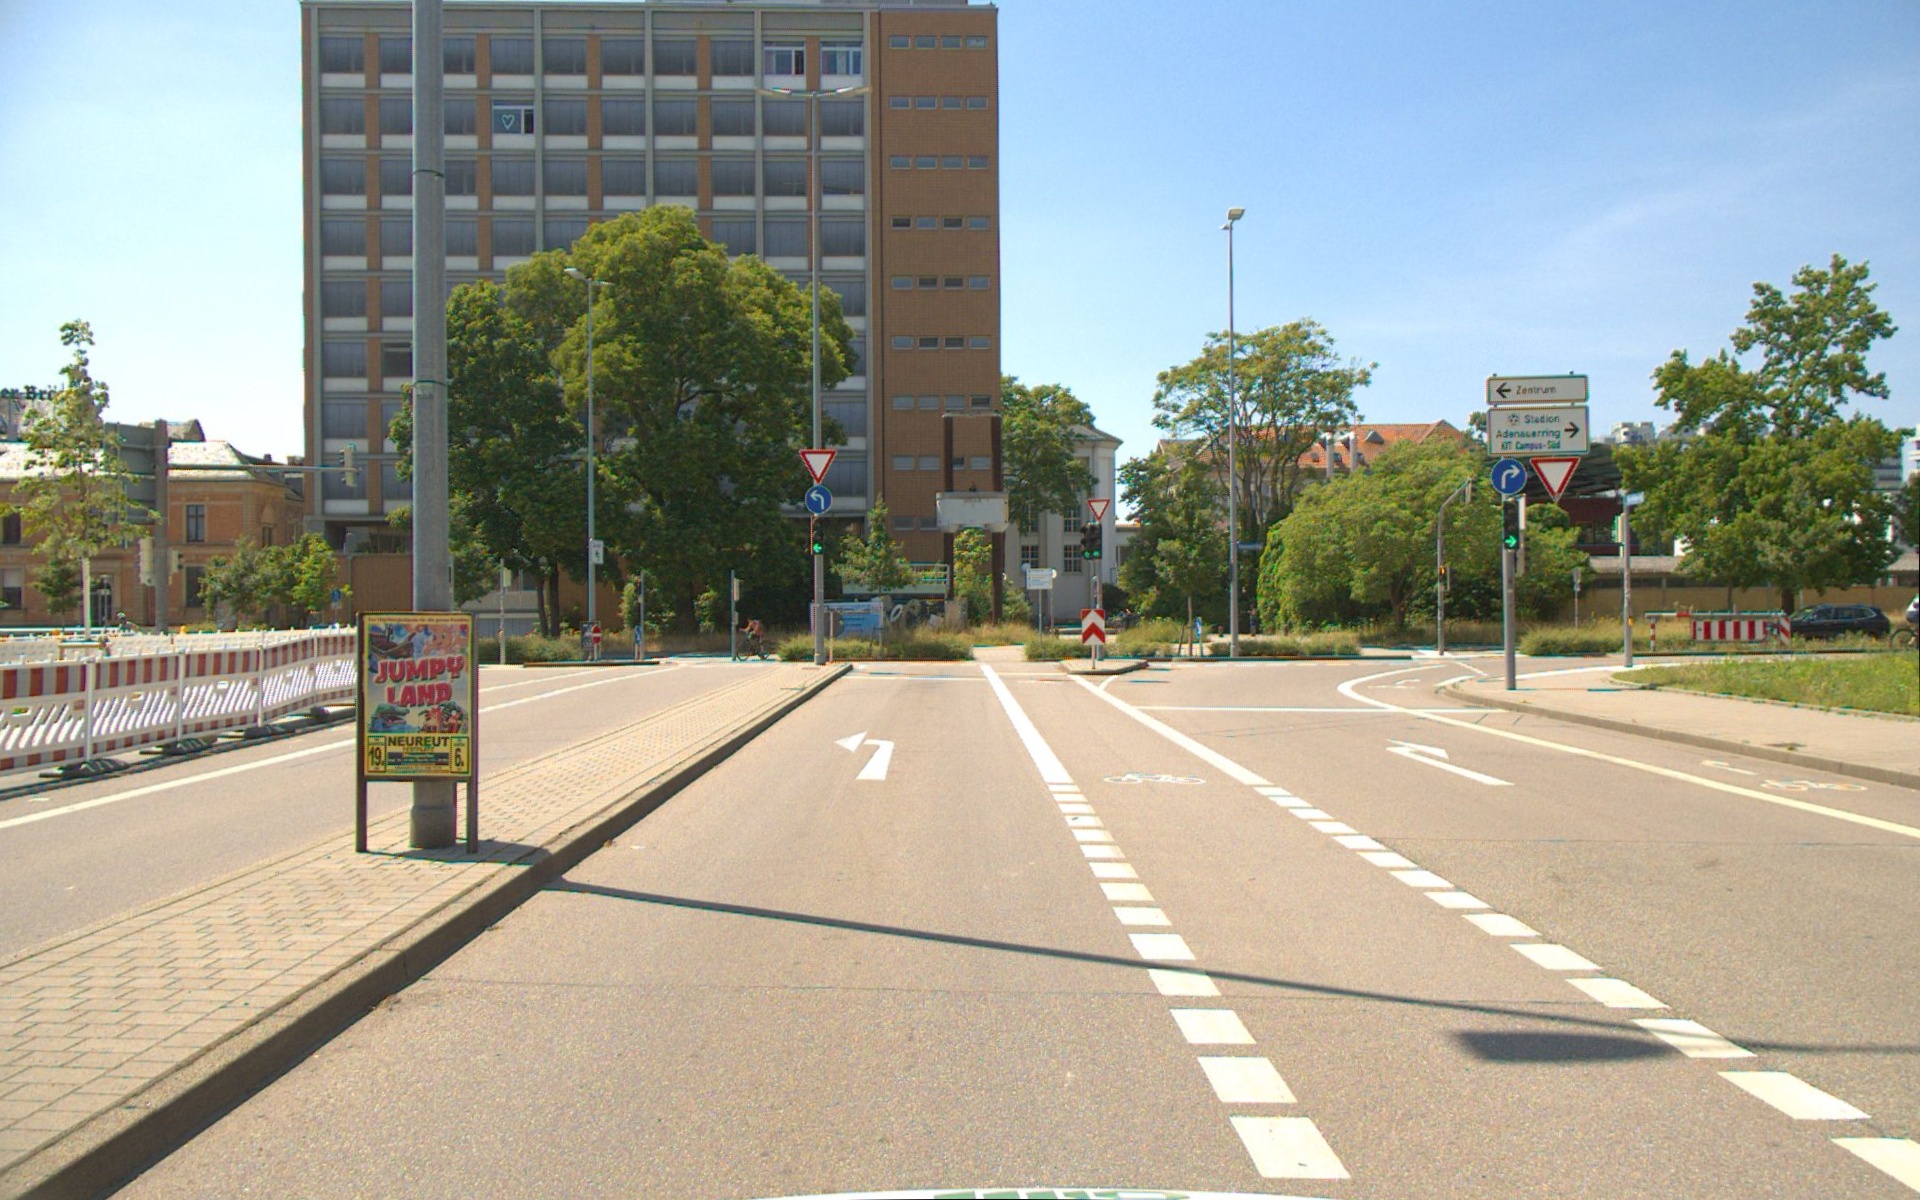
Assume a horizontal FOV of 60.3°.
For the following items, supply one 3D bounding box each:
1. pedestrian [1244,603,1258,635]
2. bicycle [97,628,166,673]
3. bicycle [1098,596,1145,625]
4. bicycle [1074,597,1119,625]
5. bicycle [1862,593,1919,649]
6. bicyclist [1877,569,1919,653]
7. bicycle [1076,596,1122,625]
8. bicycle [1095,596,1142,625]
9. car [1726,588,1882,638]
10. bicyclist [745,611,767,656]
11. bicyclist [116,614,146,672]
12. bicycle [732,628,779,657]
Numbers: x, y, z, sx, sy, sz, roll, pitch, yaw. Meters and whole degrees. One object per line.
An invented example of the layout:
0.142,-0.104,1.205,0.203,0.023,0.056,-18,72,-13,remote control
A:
16.026,1.044,91.165,0.626,1.694,0.706,1,-1,-2,pedestrian
-23.091,1.409,46.109,1.852,1.201,0.524,-2,-1,17,bicycle
11.863,0.794,121.646,3.376,2.049,0.760,1,-1,1,bicycle
10.504,0.820,127.067,3.376,2.049,0.760,1,-1,1,bicycle
22.063,0.500,38.343,2.144,1.259,0.520,1,-1,-9,bicycle
22.062,0.259,38.401,1.114,1.920,0.707,1,-1,-9,bicyclist
10.474,0.797,124.781,3.376,2.049,0.760,1,-1,1,bicycle
11.751,0.791,122.822,3.376,2.049,0.760,1,-1,1,bicycle
28.943,0.454,56.810,4.445,1.614,1.710,-1,-1,5,car
-8.103,1.309,65.620,0.541,1.745,0.699,1,1,40,bicyclist
-23.092,1.199,46.064,0.486,1.607,0.531,-2,-1,16,bicyclist
-8.113,1.675,65.612,0.548,1.063,1.986,0,1,40,bicycle
